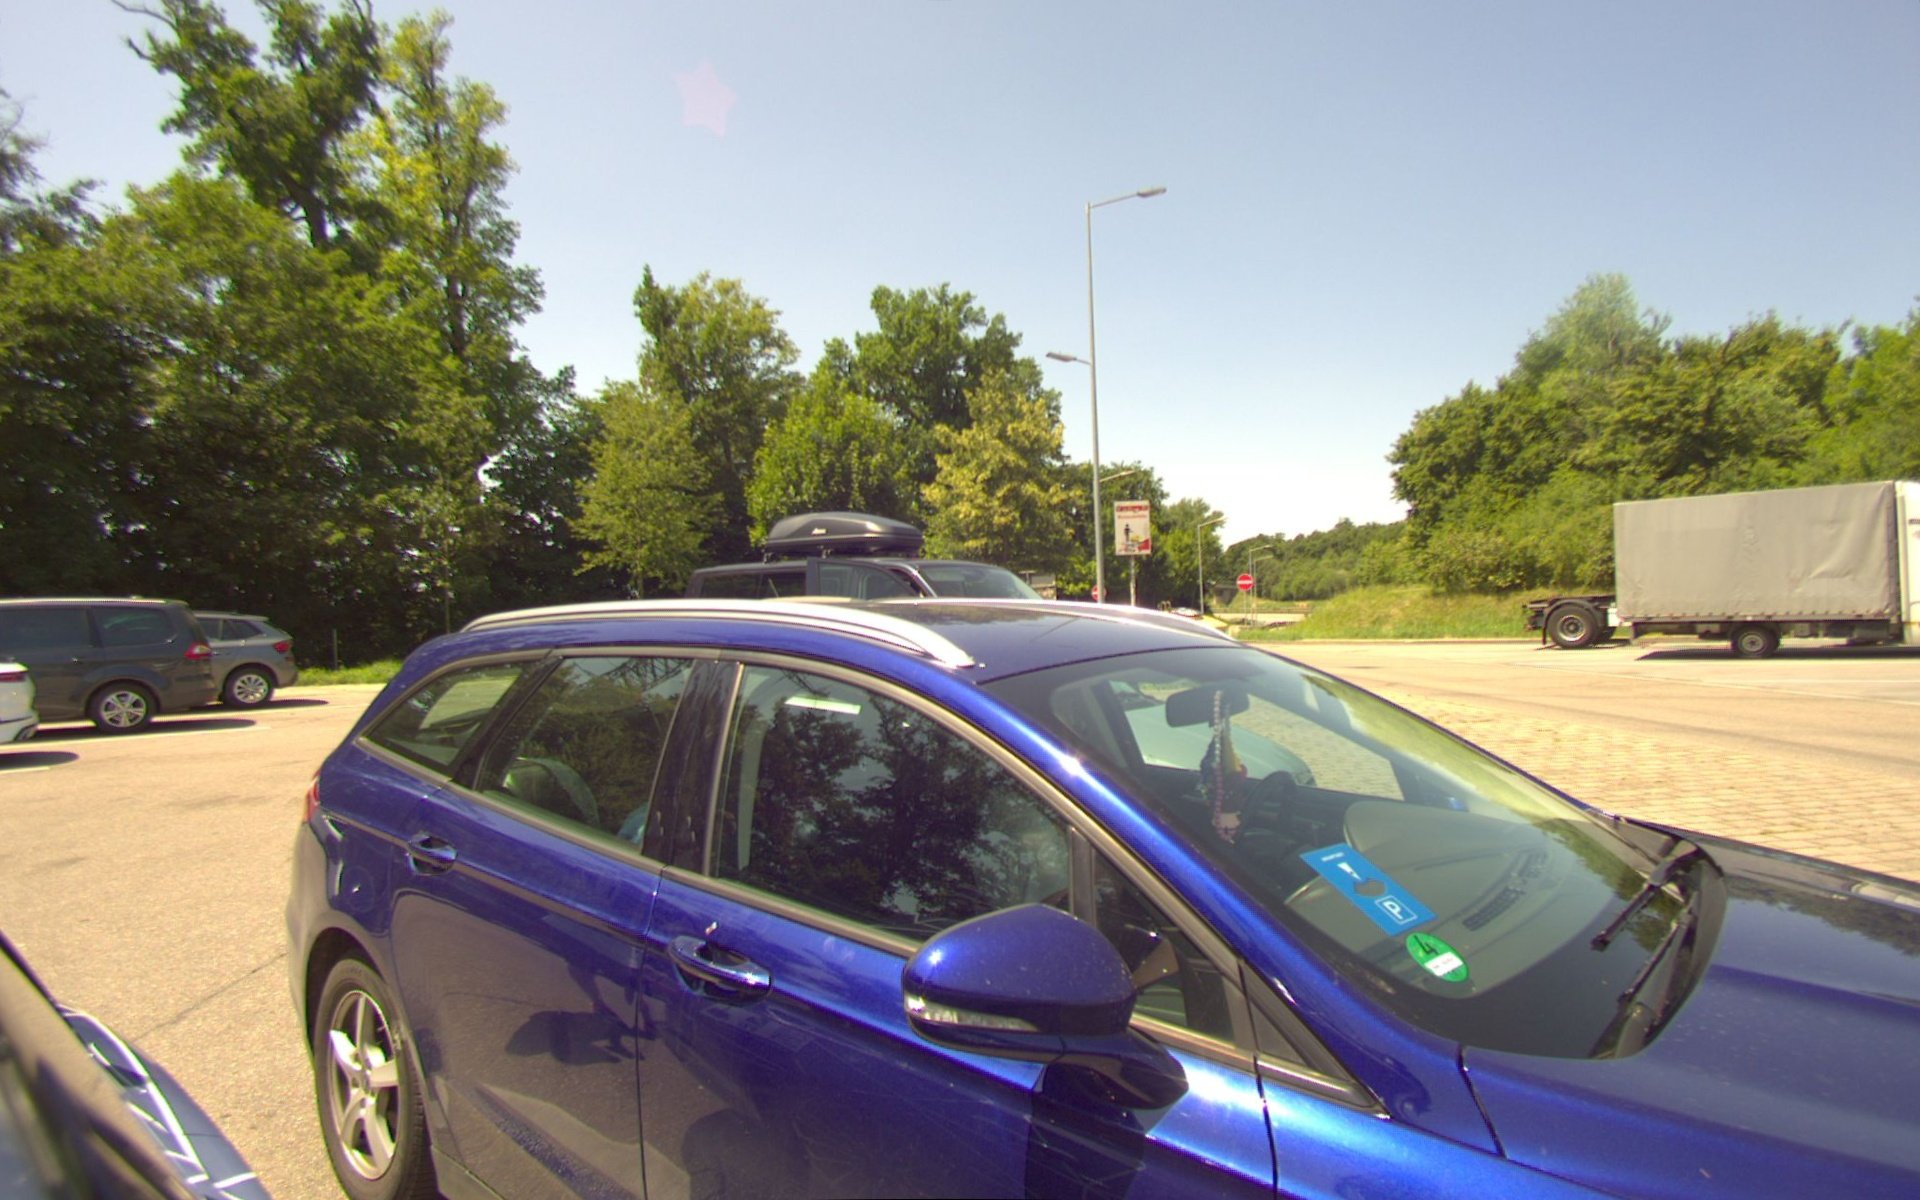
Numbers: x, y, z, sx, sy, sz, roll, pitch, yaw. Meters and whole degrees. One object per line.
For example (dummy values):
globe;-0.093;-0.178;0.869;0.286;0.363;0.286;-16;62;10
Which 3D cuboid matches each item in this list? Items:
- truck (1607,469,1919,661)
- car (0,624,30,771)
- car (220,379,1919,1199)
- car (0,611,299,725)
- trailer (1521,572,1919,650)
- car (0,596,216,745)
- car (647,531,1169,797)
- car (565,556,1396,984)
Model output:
truck;16.715;-0.623;18.939;7.337;3.235;2.502;-4;-1;41
car;-10.986;0.947;9.163;3.767;1.396;1.722;0;-1;-44
car;0.257;0.637;2.078;4.637;1.493;1.720;-3;-1;39
car;-12.584;0.970;15.707;3.762;1.551;1.724;0;-1;-38
trailer;17.644;0.287;23.161;8.088;1.385;2.200;-4;-1;41
car;-11.646;0.837;12.627;3.762;1.737;1.724;0;-1;-38
car;-0.650;0.512;9.364;4.635;1.884;1.937;-3;0;37
car;-0.206;0.674;5.790;4.637;1.545;1.720;-3;0;39
